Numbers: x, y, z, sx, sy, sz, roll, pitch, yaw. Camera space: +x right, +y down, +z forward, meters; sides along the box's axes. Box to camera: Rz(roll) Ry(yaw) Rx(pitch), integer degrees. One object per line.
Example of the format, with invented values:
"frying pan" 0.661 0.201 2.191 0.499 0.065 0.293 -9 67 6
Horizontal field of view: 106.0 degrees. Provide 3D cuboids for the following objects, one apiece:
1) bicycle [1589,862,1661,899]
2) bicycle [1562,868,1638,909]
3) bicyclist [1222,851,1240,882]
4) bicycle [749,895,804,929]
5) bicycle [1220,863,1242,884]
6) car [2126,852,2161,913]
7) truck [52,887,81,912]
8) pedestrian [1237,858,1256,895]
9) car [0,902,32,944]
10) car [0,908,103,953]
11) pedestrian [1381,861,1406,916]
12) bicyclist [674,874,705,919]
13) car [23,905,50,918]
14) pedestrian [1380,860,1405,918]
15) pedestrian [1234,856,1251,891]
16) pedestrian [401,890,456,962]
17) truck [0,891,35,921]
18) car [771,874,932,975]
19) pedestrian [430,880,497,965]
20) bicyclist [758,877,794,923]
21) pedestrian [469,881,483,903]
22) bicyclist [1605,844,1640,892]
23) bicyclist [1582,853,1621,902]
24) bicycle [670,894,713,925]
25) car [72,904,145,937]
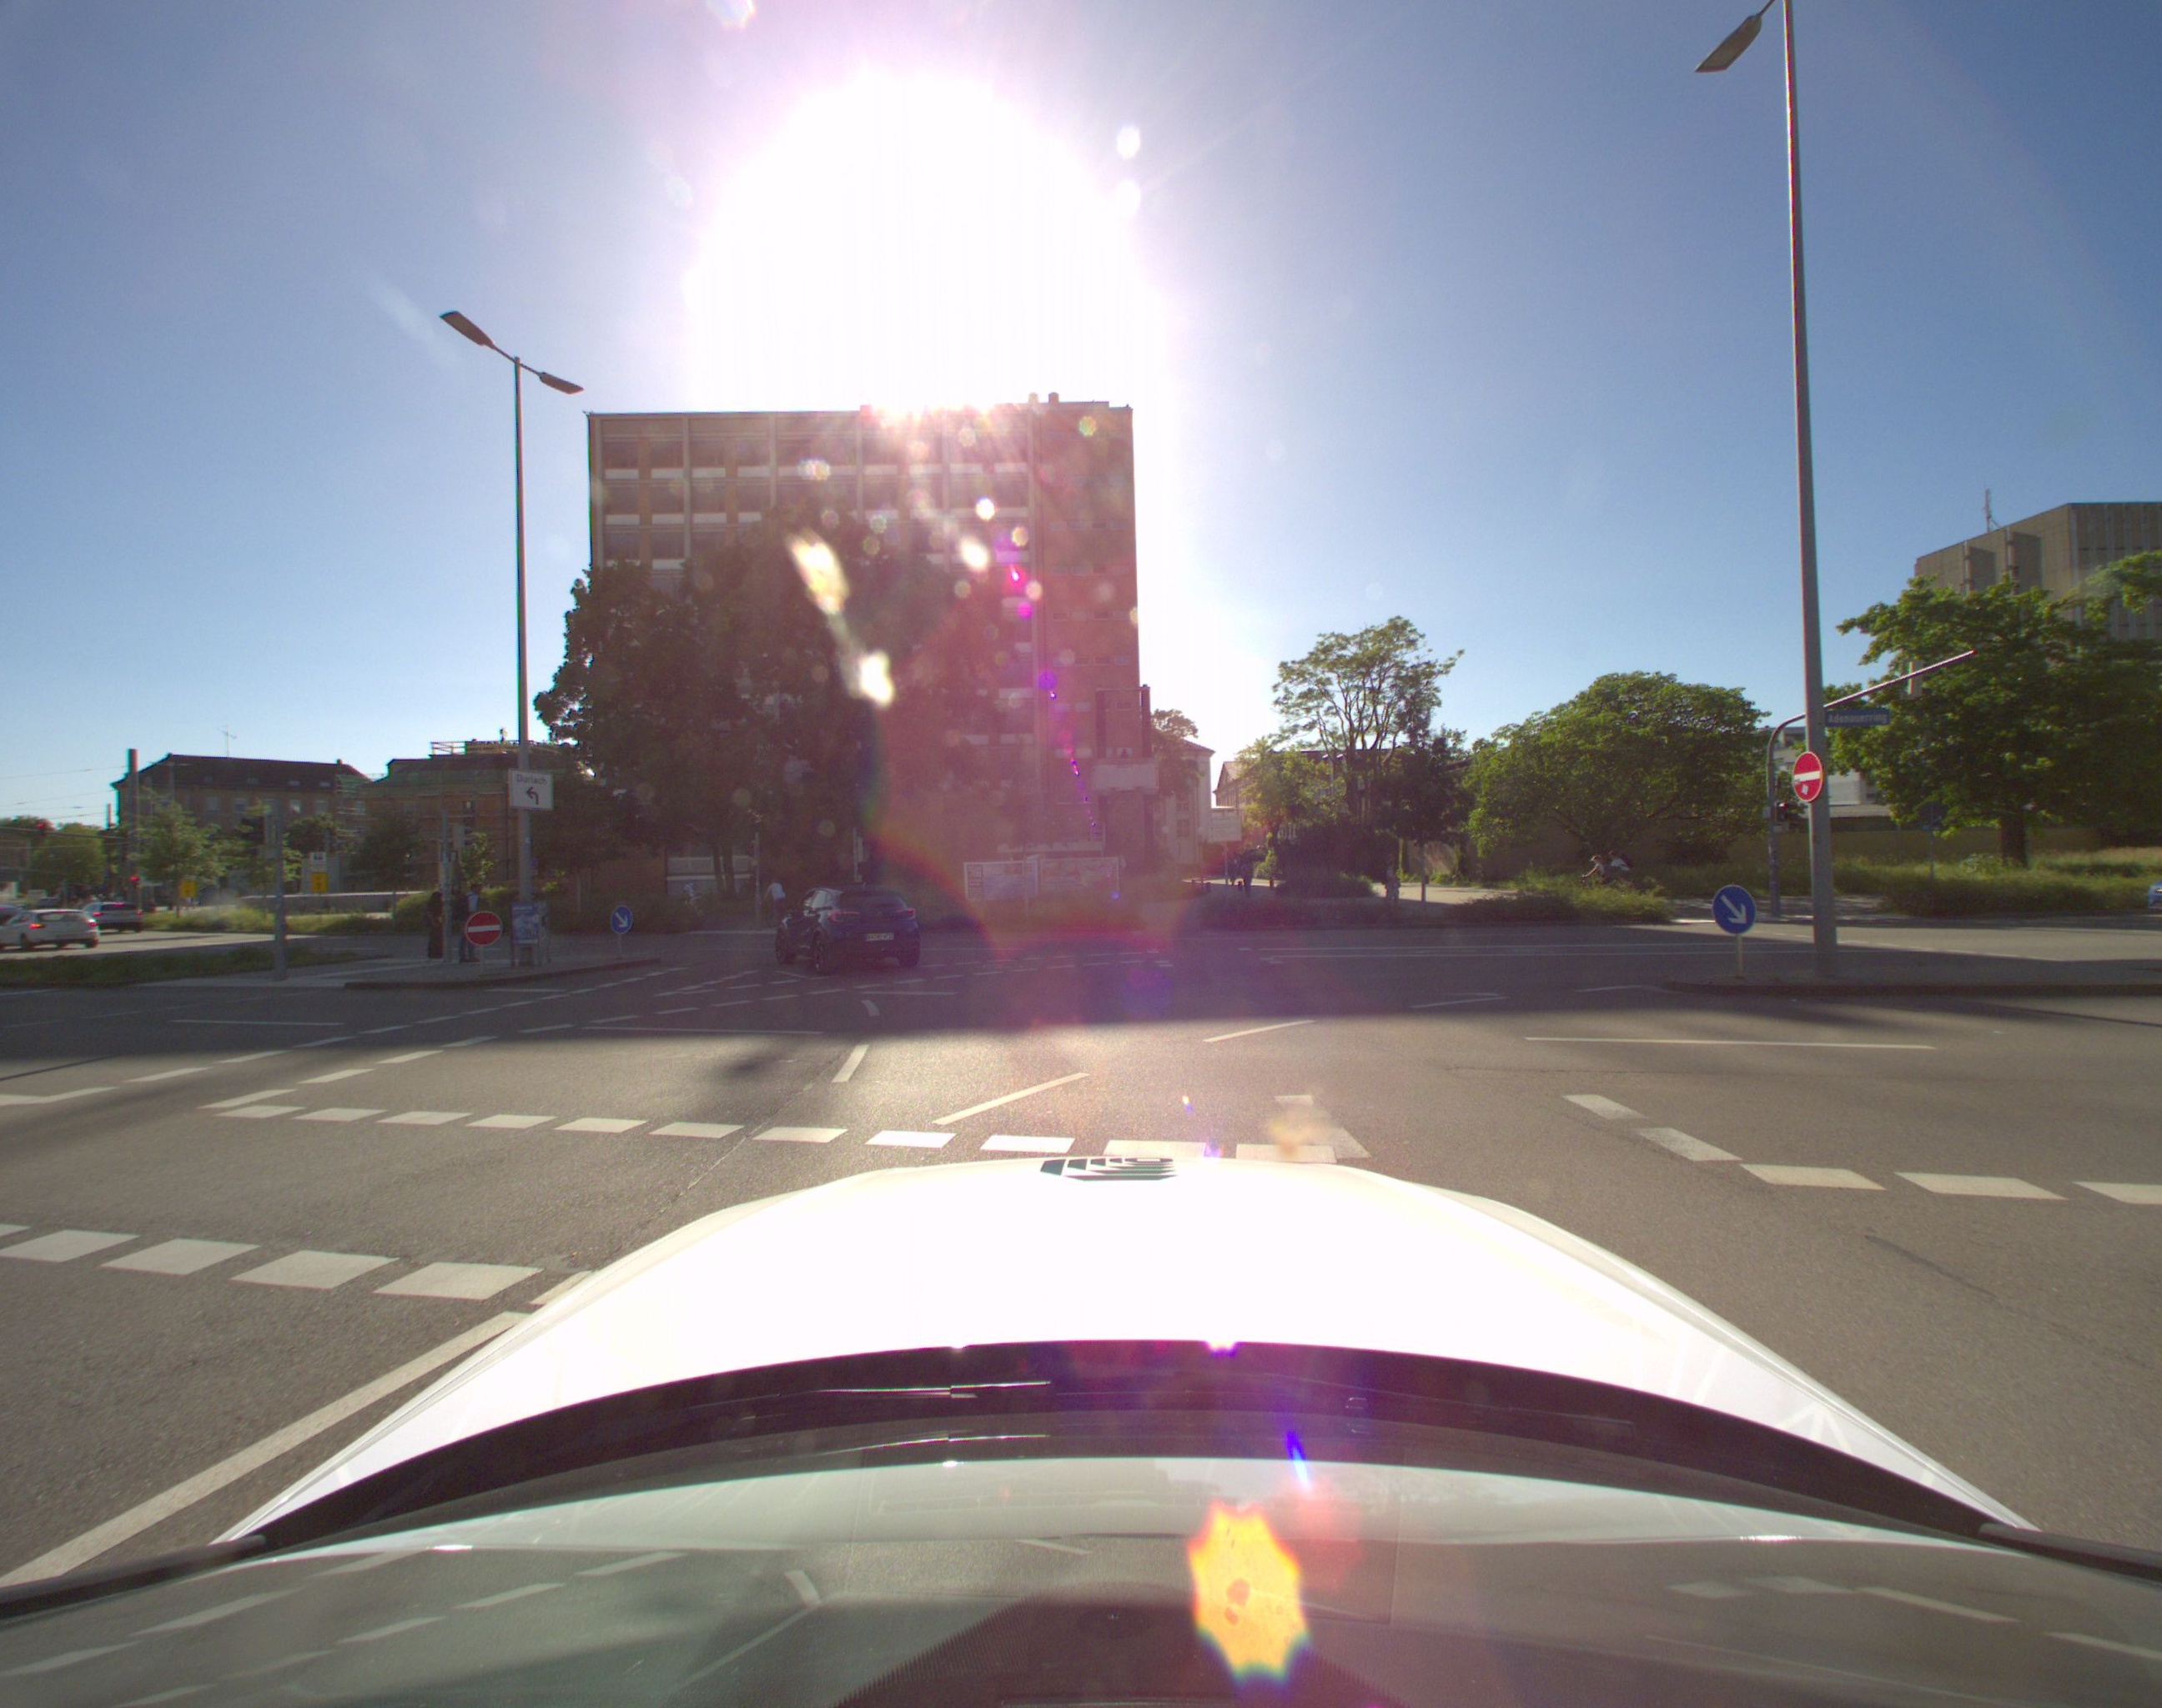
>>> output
"bicycle" 18.760 0.900 28.114 1.937 1.165 0.645 -2 1 13
"bicycle" 15.963 1.039 25.086 0.645 1.165 1.851 -3 1 -31
"bicyclist" 8.792 0.726 47.681 0.713 1.735 0.983 -2 -1 26
"bicycle" -11.063 2.093 29.582 1.847 1.165 0.722 -2 -1 24
"bicycle" 8.809 1.150 47.683 0.739 1.165 1.881 -2 -1 26
"car" 27.255 0.616 18.717 3.968 1.442 1.707 -1 -2 4
"truck" -159.708 7.059 128.209 5.159 3.675 2.618 0 -1 41
"pedestrian" 7.344 0.990 36.092 0.669 1.643 0.740 0 -1 26
"car" -44.170 2.784 32.373 4.324 1.624 2.001 -2 -1 24
"car" -37.606 2.761 29.542 3.691 1.436 1.706 -2 -1 23
"pedestrian" 10.402 1.140 27.128 0.727 1.782 0.735 0 -1 18
"bicyclist" -15.813 1.703 32.907 0.965 1.763 0.726 -2 -1 37
"car" -136.887 7.542 106.795 3.594 1.544 1.797 0 -1 43
"pedestrian" 9.979 1.111 26.122 0.727 1.816 0.735 0 -1 18
"pedestrian" 7.735 0.936 39.042 0.669 1.643 0.740 0 -1 23
"pedestrian" -15.157 1.656 18.933 0.712 1.612 0.684 -2 -2 14
"truck" -87.955 4.226 64.649 2.217 2.313 6.851 -1 -1 -13
"car" -4.502 1.288 15.601 1.890 1.618 3.757 -1 -3 -34
"pedestrian" -13.895 1.511 18.360 0.753 1.833 1.093 -1 -2 -7
"bicyclist" -11.084 1.675 29.603 0.966 1.617 0.726 -2 -1 23
"pedestrian" -49.597 3.090 66.746 0.534 1.752 0.790 0 -1 5
"bicyclist" 18.683 0.486 28.114 0.824 1.595 0.634 -2 2 12
"bicyclist" 15.984 0.703 25.030 0.645 1.444 0.769 -3 1 -31
"bicycle" -15.708 2.212 32.836 1.846 1.165 0.753 -2 -1 36
"car" -51.728 3.525 43.328 3.578 1.618 1.894 -3 -3 30
